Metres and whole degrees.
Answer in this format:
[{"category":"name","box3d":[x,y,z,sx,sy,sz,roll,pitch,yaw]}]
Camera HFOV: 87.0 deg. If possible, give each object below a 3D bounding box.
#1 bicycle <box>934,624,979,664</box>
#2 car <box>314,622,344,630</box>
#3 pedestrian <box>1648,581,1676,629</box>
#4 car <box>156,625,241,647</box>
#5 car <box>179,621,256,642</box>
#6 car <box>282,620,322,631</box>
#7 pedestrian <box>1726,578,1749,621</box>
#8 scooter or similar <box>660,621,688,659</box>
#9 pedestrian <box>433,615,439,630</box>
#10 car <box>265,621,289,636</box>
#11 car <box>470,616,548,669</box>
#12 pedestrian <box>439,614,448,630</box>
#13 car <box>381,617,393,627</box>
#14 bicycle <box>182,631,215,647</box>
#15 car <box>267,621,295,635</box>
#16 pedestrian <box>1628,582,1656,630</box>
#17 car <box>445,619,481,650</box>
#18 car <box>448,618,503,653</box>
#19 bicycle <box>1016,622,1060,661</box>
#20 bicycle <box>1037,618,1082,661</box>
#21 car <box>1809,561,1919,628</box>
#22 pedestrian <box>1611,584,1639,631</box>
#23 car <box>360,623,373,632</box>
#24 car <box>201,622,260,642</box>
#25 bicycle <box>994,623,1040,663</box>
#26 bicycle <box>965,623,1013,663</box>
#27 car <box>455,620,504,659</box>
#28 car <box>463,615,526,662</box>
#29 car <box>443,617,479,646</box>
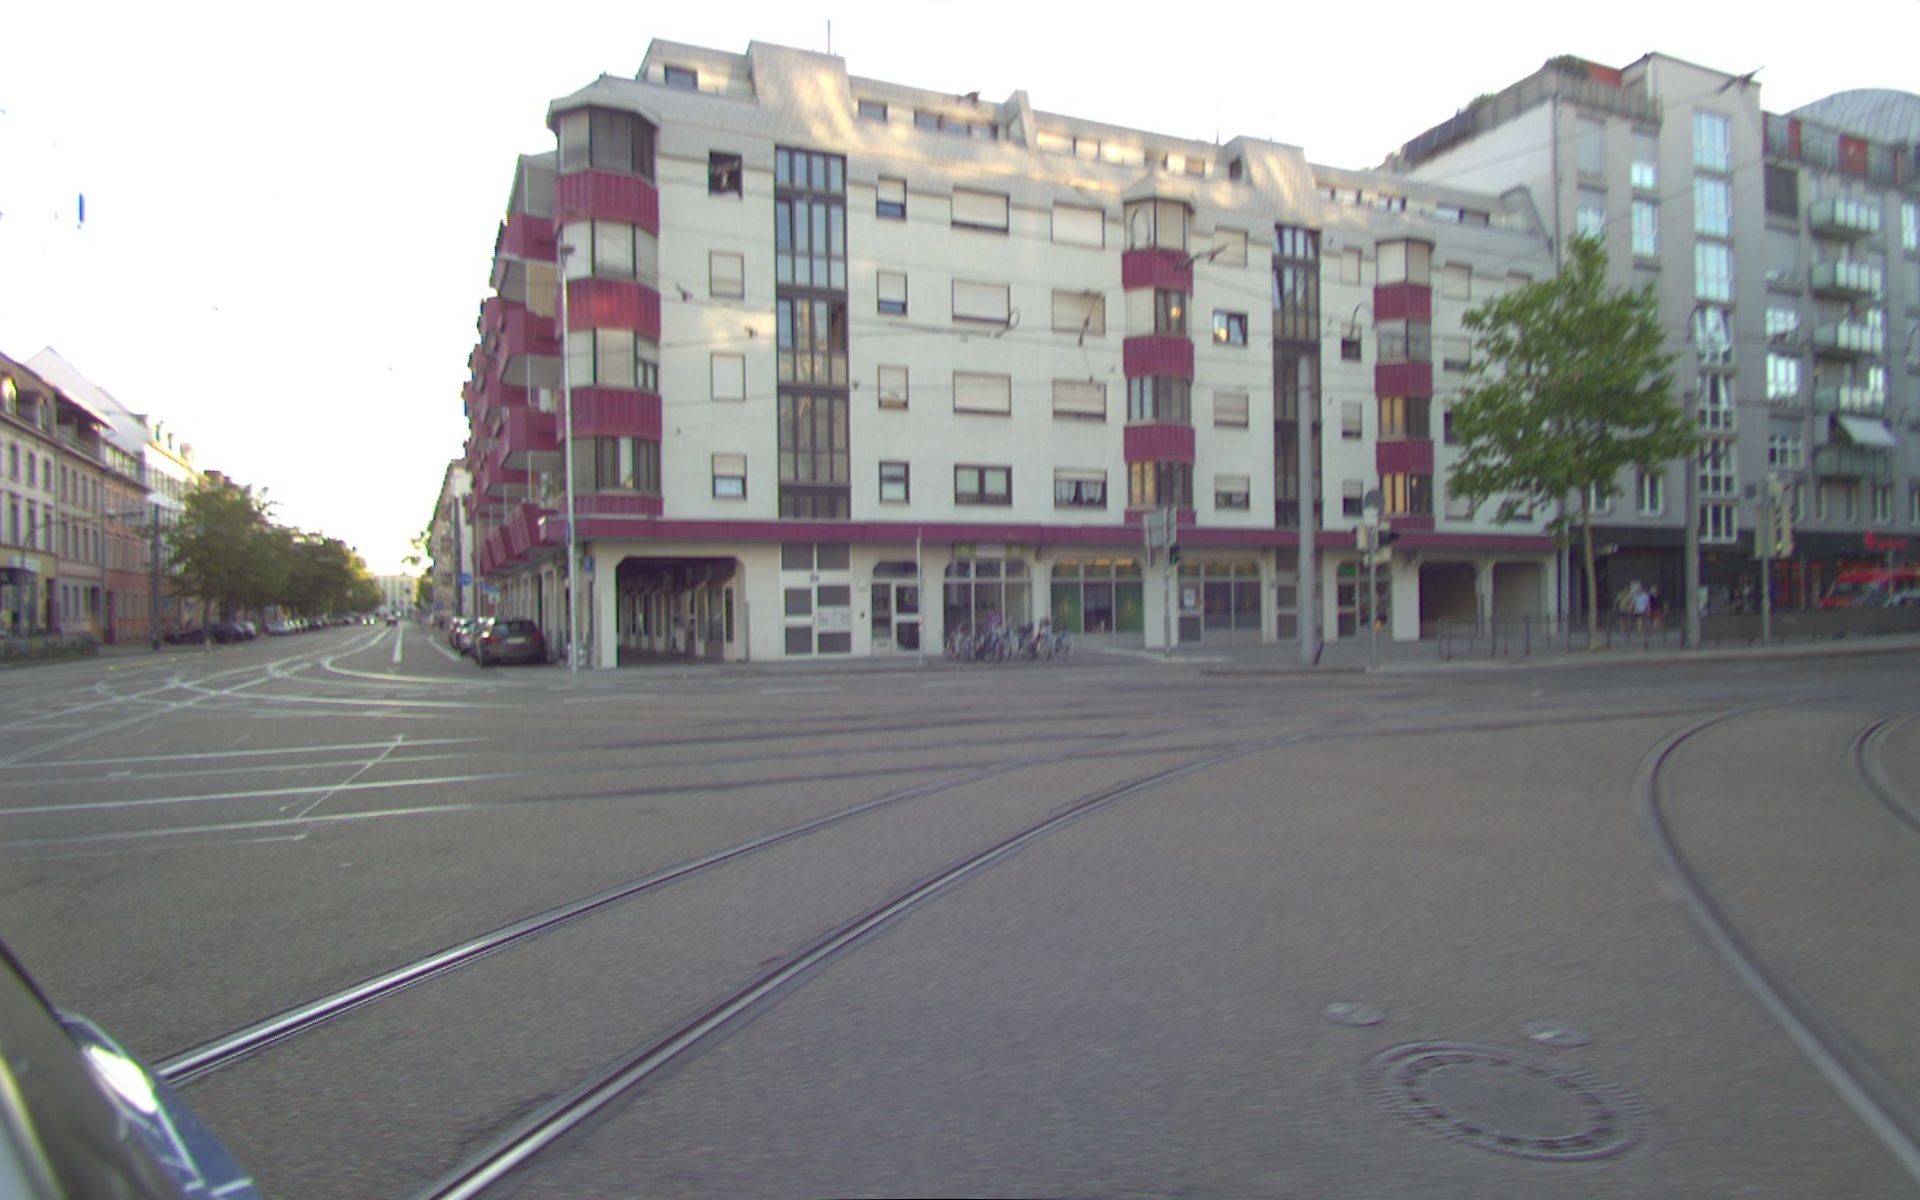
[{"category":"bicycle","box3d":[-0.110,1.127,26.213,0.662,0.965,1.846,-1,0,-17]},{"category":"car","box3d":[-123.168,5.036,197.605,1.806,1.529,4.582,-2,-3,34]},{"category":"pedestrian","box3d":[26.816,0.189,38.670,0.538,1.789,0.657,-1,-1,-25]},{"category":"car","box3d":[-54.293,2.542,72.212,1.707,1.468,4.562,-1,-2,36]},{"category":"car","box3d":[-57.239,2.395,78.097,2.061,1.528,4.401,-1,-1,38]},{"category":"car","box3d":[-90.066,3.466,138.506,1.720,1.475,4.328,-2,-2,43]},{"category":"pedestrian","box3d":[32.662,-0.008,42.517,0.643,1.789,0.549,-1,-1,-33]},{"category":"scooter or similar","box3d":[-9.234,1.262,32.675,0.541,1.174,1.484,-1,0,-28]},{"category":"pedestrian","box3d":[-56.899,2.472,109.870,0.582,1.622,0.813,-1,-1,-31]},{"category":"car","box3d":[-68.176,2.838,101.026,1.596,1.391,3.788,1,-1,-29]},{"category":"car","box3d":[-14.227,1.274,31.757,1.826,1.467,5.102,-1,0,-28]},{"category":"pedestrian","box3d":[-56.330,2.440,110.380,0.784,1.714,0.984,-1,-1,-31]},{"category":"car","box3d":[-94.080,3.565,166.177,1.537,1.570,3.766,1,-1,-31]},{"category":"bicycle","box3d":[-53.038,2.714,70.504,1.666,1.110,0.930,1,-2,-30]},{"category":"car","box3d":[-71.017,2.909,105.893,1.755,1.391,4.706,1,-1,-27]},{"category":"pedestrian","box3d":[25.668,0.228,38.082,0.538,1.789,0.657,-1,-1,-25]},{"category":"car","box3d":[-26.846,1.813,54.636,1.589,1.490,3.490,-3,1,-28]},{"category":"car","box3d":[-23.692,1.710,49.416,1.966,1.490,4.495,-4,1,-31]},{"category":"bicycle","box3d":[2.046,1.083,26.826,0.490,0.965,1.846,-1,0,-17]},{"category":"bicycle","box3d":[2.630,1.025,26.907,0.490,1.069,1.846,-1,0,-17]},{"category":"car","box3d":[37.301,-0.228,41.162,5.354,2.570,2.101,-1,-1,-24]},{"category":"pedestrian","box3d":[25.588,0.275,38.945,0.538,1.789,0.657,-1,-1,-25]},{"category":"car","box3d":[-119.867,5.612,204.401,1.966,1.696,4.012,-2,-1,-29]},{"category":"car","box3d":[-59.570,2.585,82.695,1.740,1.528,3.523,-1,-1,36]},{"category":"bicycle","box3d":[1.493,1.108,26.640,0.586,0.965,1.846,-1,0,-17]},{"category":"bicycle","box3d":[0.742,1.108,26.458,0.662,0.965,1.846,-1,0,-17]},{"category":"car","box3d":[-19.946,1.585,41.941,1.668,1.424,4.692,-3,1,-27]},{"category":"car","box3d":[-17.056,1.357,36.980,1.763,1.519,4.213,-3,1,-28]},{"category":"car","box3d":[-29.683,1.851,60.171,1.693,1.567,4.217,-3,0,-28]}]
